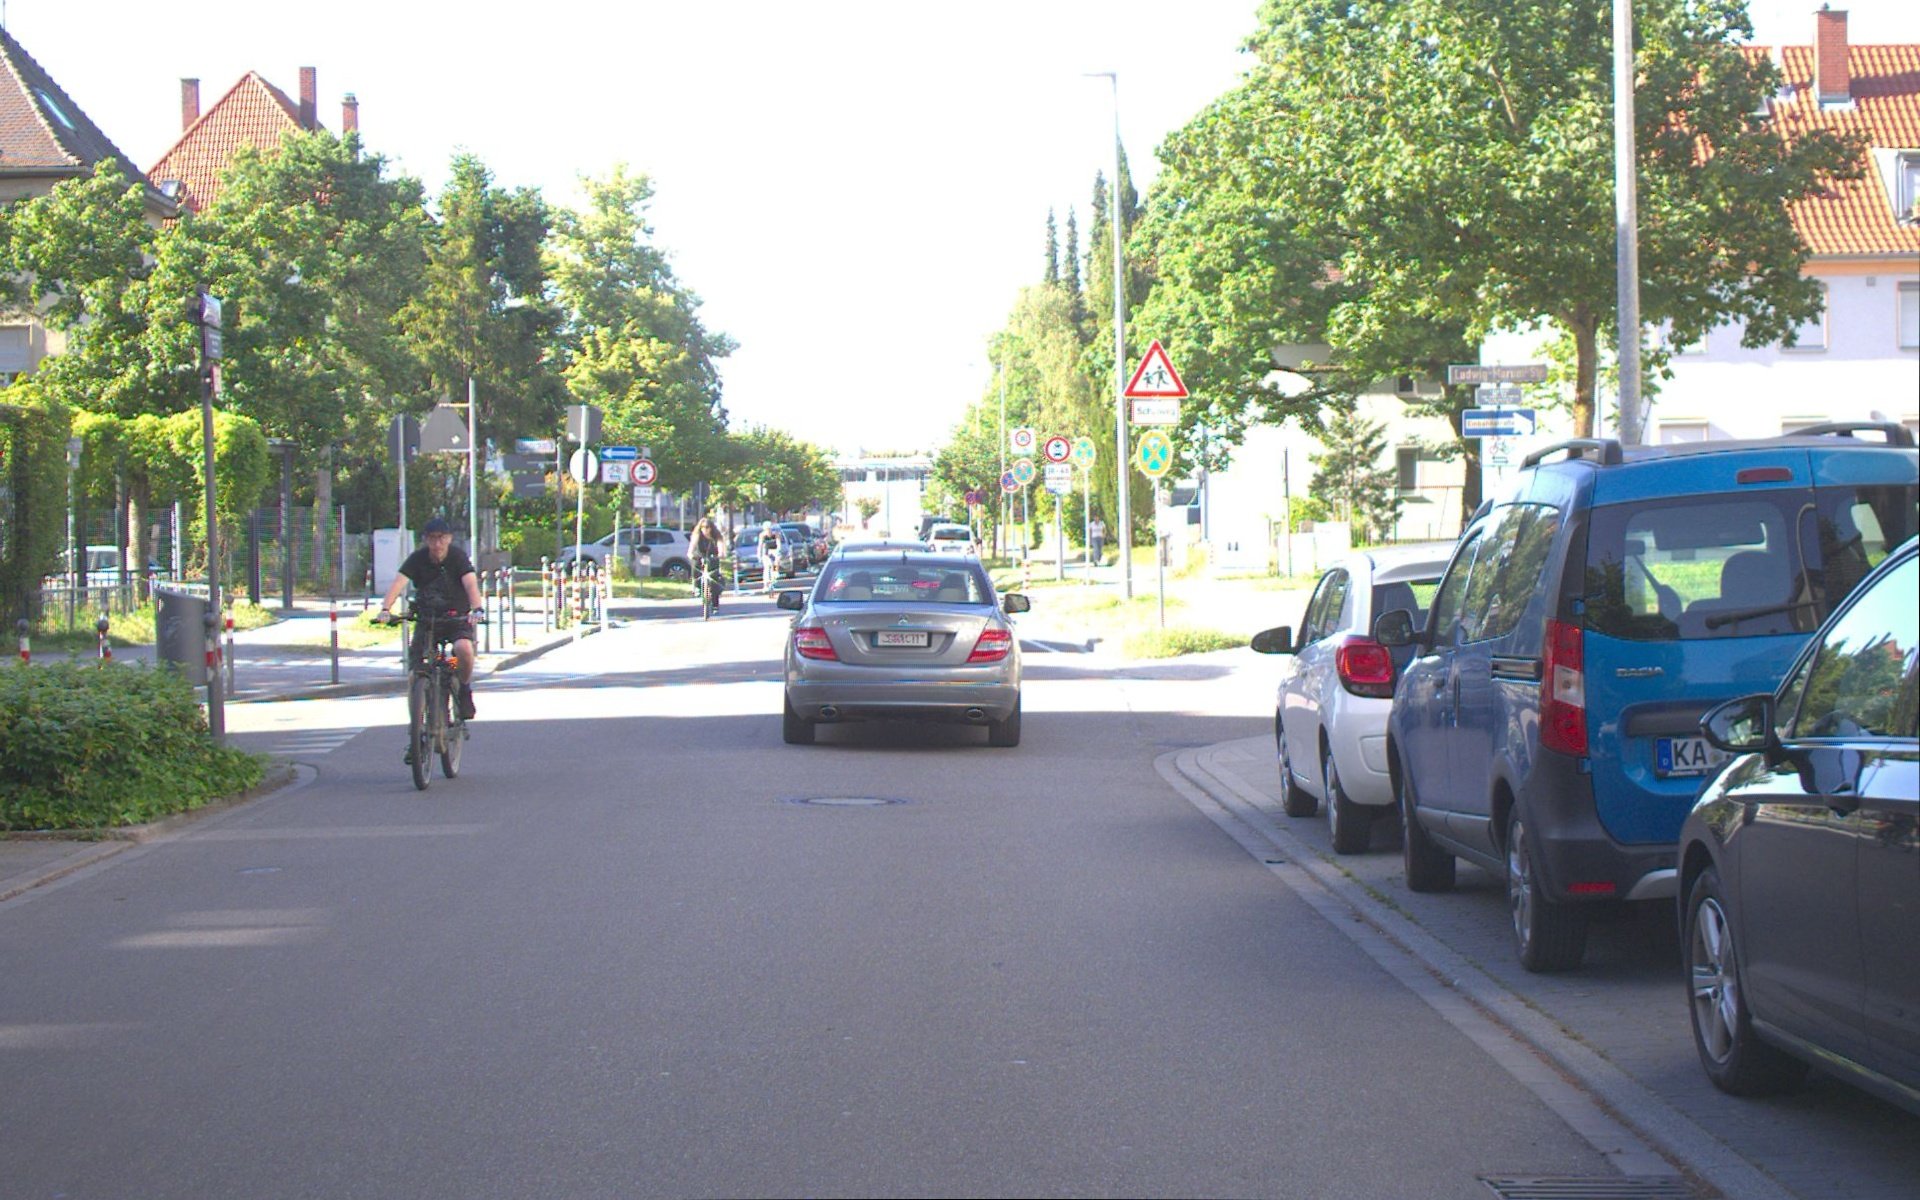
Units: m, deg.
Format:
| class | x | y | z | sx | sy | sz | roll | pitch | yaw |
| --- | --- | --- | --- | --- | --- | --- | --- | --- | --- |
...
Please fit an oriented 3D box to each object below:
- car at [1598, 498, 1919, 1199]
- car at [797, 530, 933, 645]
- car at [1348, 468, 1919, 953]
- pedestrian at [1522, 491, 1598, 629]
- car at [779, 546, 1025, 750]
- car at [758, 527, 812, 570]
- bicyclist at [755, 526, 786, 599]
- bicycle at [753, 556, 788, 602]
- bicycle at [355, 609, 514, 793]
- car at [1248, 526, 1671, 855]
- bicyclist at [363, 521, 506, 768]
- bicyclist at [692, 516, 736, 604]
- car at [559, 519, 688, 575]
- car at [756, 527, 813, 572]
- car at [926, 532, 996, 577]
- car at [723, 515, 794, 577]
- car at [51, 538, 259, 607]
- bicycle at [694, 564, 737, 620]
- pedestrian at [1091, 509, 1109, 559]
| class | x | y | z | sx | sy | sz | roll | pitch | yaw |
| --- | --- | --- | --- | --- | --- | --- | --- | --- | --- |
| car | 2.781 | 0.516 | 7.827 | 1.737 | 1.526 | 4.179 | -3 | 1 | -1 |
| car | -1.267 | -0.164 | 45.965 | 1.707 | 1.443 | 4.203 | 1 | 0 | -2 |
| car | 2.642 | 0.334 | 13.034 | 1.682 | 1.430 | 4.266 | -5 | 0 | -1 |
| pedestrian | 7.143 | -0.479 | 40.935 | 0.647 | 1.617 | 0.616 | -1 | 1 | 37 |
| car | -0.409 | 0.340 | 26.400 | 1.726 | 1.415 | 3.960 | 1 | 0 | 0 |
| car | -6.310 | -1.851 | 123.709 | 1.786 | 1.527 | 4.001 | 0 | 1 | -5 |
| bicyclist | -3.930 | -0.783 | 71.424 | 0.572 | 1.504 | 0.655 | -1 | 1 | 1 |
| bicycle | -3.925 | -0.443 | 71.401 | 0.589 | 0.928 | 1.850 | -1 | 1 | 0 |
| bicycle | -3.362 | 0.625 | 22.153 | 0.719 | 1.075 | 1.891 | -2 | 1 | 0 |
| car | 2.485 | 0.420 | 17.906 | 1.564 | 1.406 | 3.729 | -5 | 0 | 0 |
| bicyclist | -3.372 | 0.266 | 22.143 | 0.721 | 1.531 | 1.137 | -2 | 1 | -1 |
| bicyclist | -4.264 | -0.694 | 59.638 | 0.680 | 1.504 | 0.655 | -1 | 1 | 1 |
| car | -9.281 | -1.450 | 94.672 | 3.493 | 1.528 | 1.645 | 0 | 1 | -7 |
| car | -6.069 | -1.738 | 118.565 | 1.786 | 1.527 | 4.001 | 0 | 1 | -5 |
| car | -0.001 | -1.373 | 102.620 | 1.722 | 1.325 | 4.001 | 0 | 1 | -5 |
| car | -5.891 | -1.578 | 100.091 | 1.872 | 1.722 | 4.001 | -1 | 1 | -5 |
| car | -16.968 | -0.577 | 72.620 | 3.986 | 1.371 | 2.000 | 1 | 0 | -3 |
| bicycle | -4.240 | -0.148 | 59.668 | 0.589 | 0.928 | 1.850 | -1 | 1 | 0 |
| pedestrian | 4.357 | -2.044 | 106.928 | 0.509 | 1.554 | 0.643 | 1 | 0 | 0 |
